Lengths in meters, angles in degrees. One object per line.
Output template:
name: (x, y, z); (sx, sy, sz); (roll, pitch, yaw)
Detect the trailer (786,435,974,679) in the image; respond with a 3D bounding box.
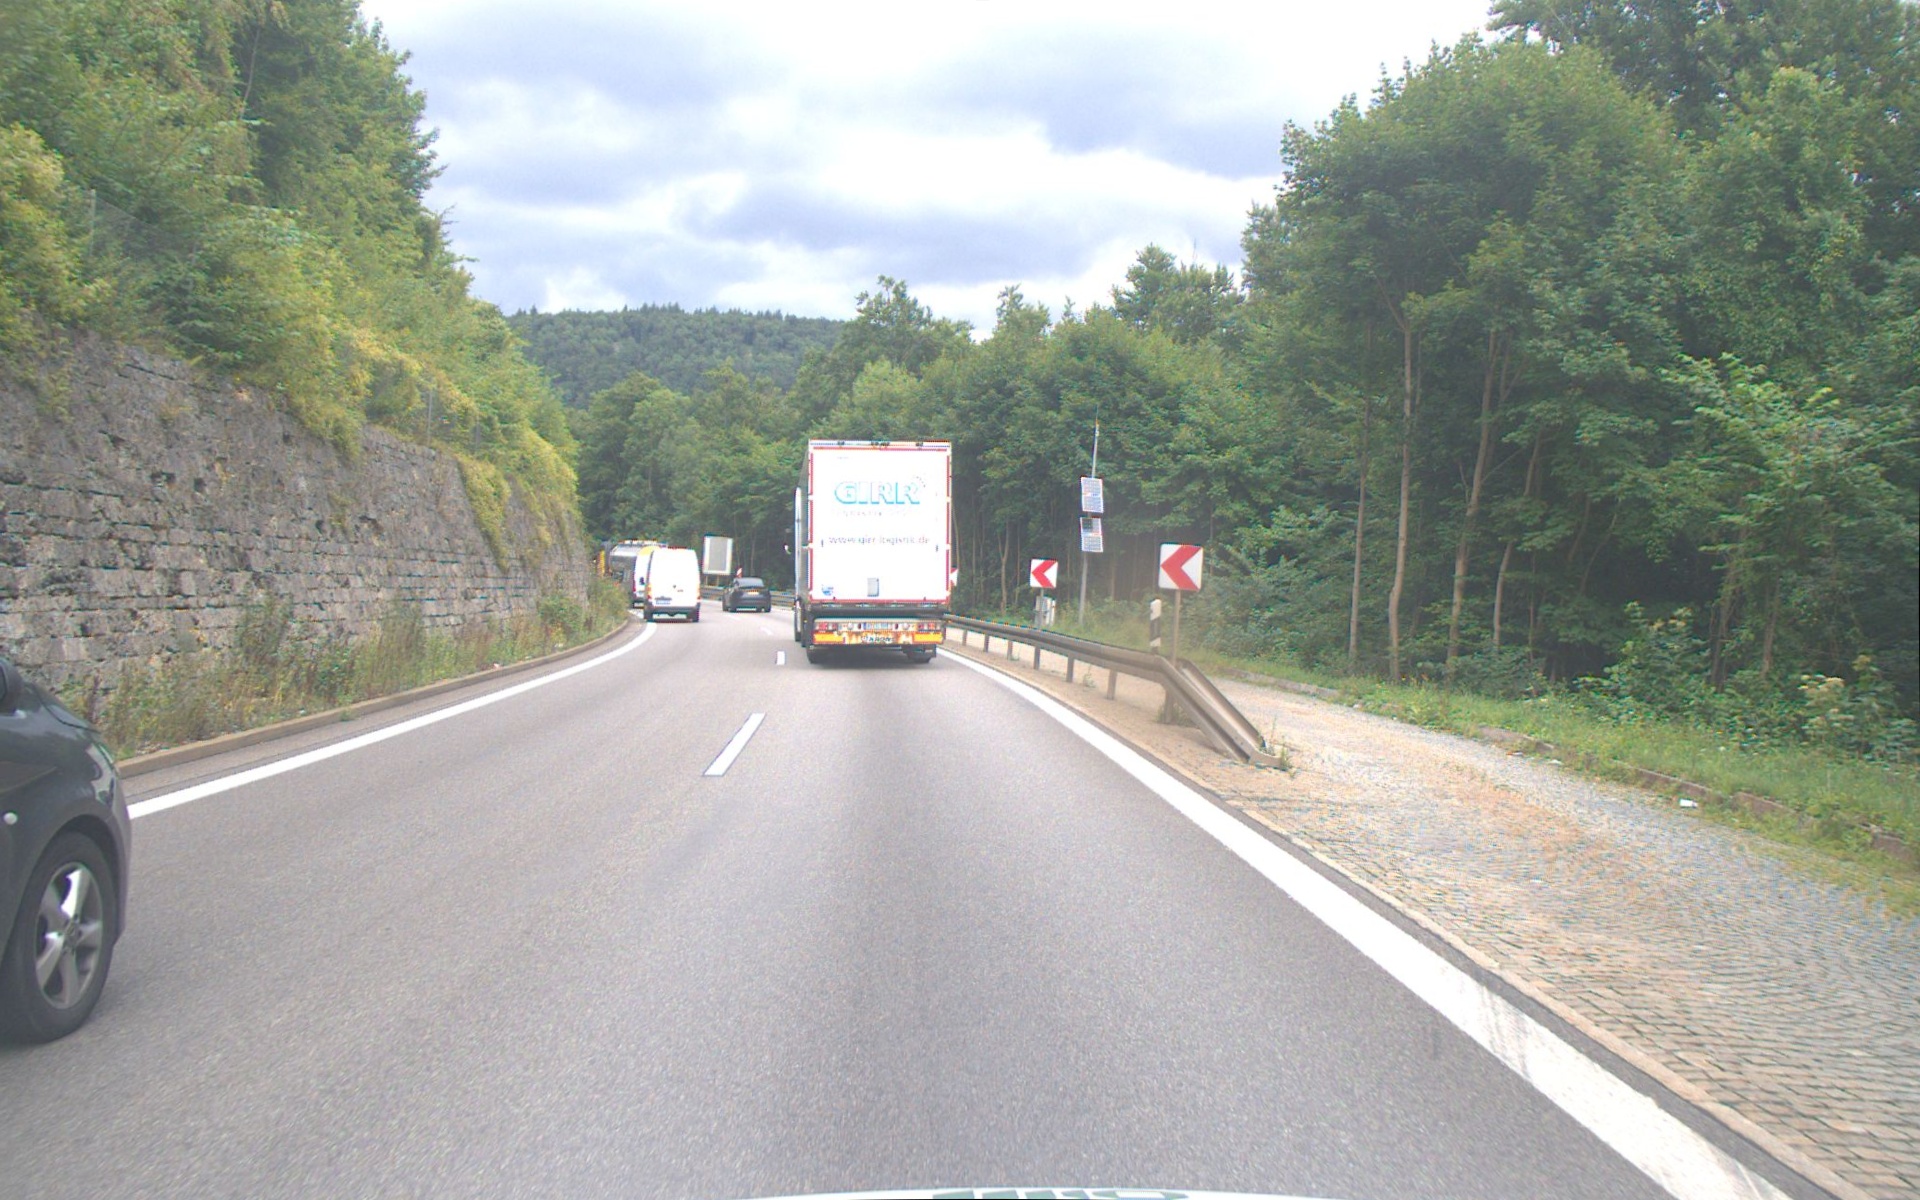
trailer: (-2.000, -0.941, 34.595); (2.999, 4.055, 12.122); (3, 2, -6)

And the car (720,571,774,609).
car: (-10.065, -0.486, 78.051); (1.961, 1.691, 3.984); (2, 0, -15)

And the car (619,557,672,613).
car: (-16.432, -0.825, 86.196); (1.909, 2.718, 5.961); (2, 0, -18)

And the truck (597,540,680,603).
truck: (-22.427, -2.046, 114.691); (3.016, 4.055, 13.603); (-1, 2, -23)

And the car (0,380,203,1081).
car: (-3.721, 0.395, 3.434); (1.953, 2.049, 5.538); (0, 1, -3)

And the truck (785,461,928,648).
truck: (-2.711, -1.137, 40.958); (2.999, 4.055, 7.178); (3, 2, -6)

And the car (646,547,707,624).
car: (-10.991, -0.583, 63.767); (1.954, 2.718, 6.916); (2, 0, -12)
